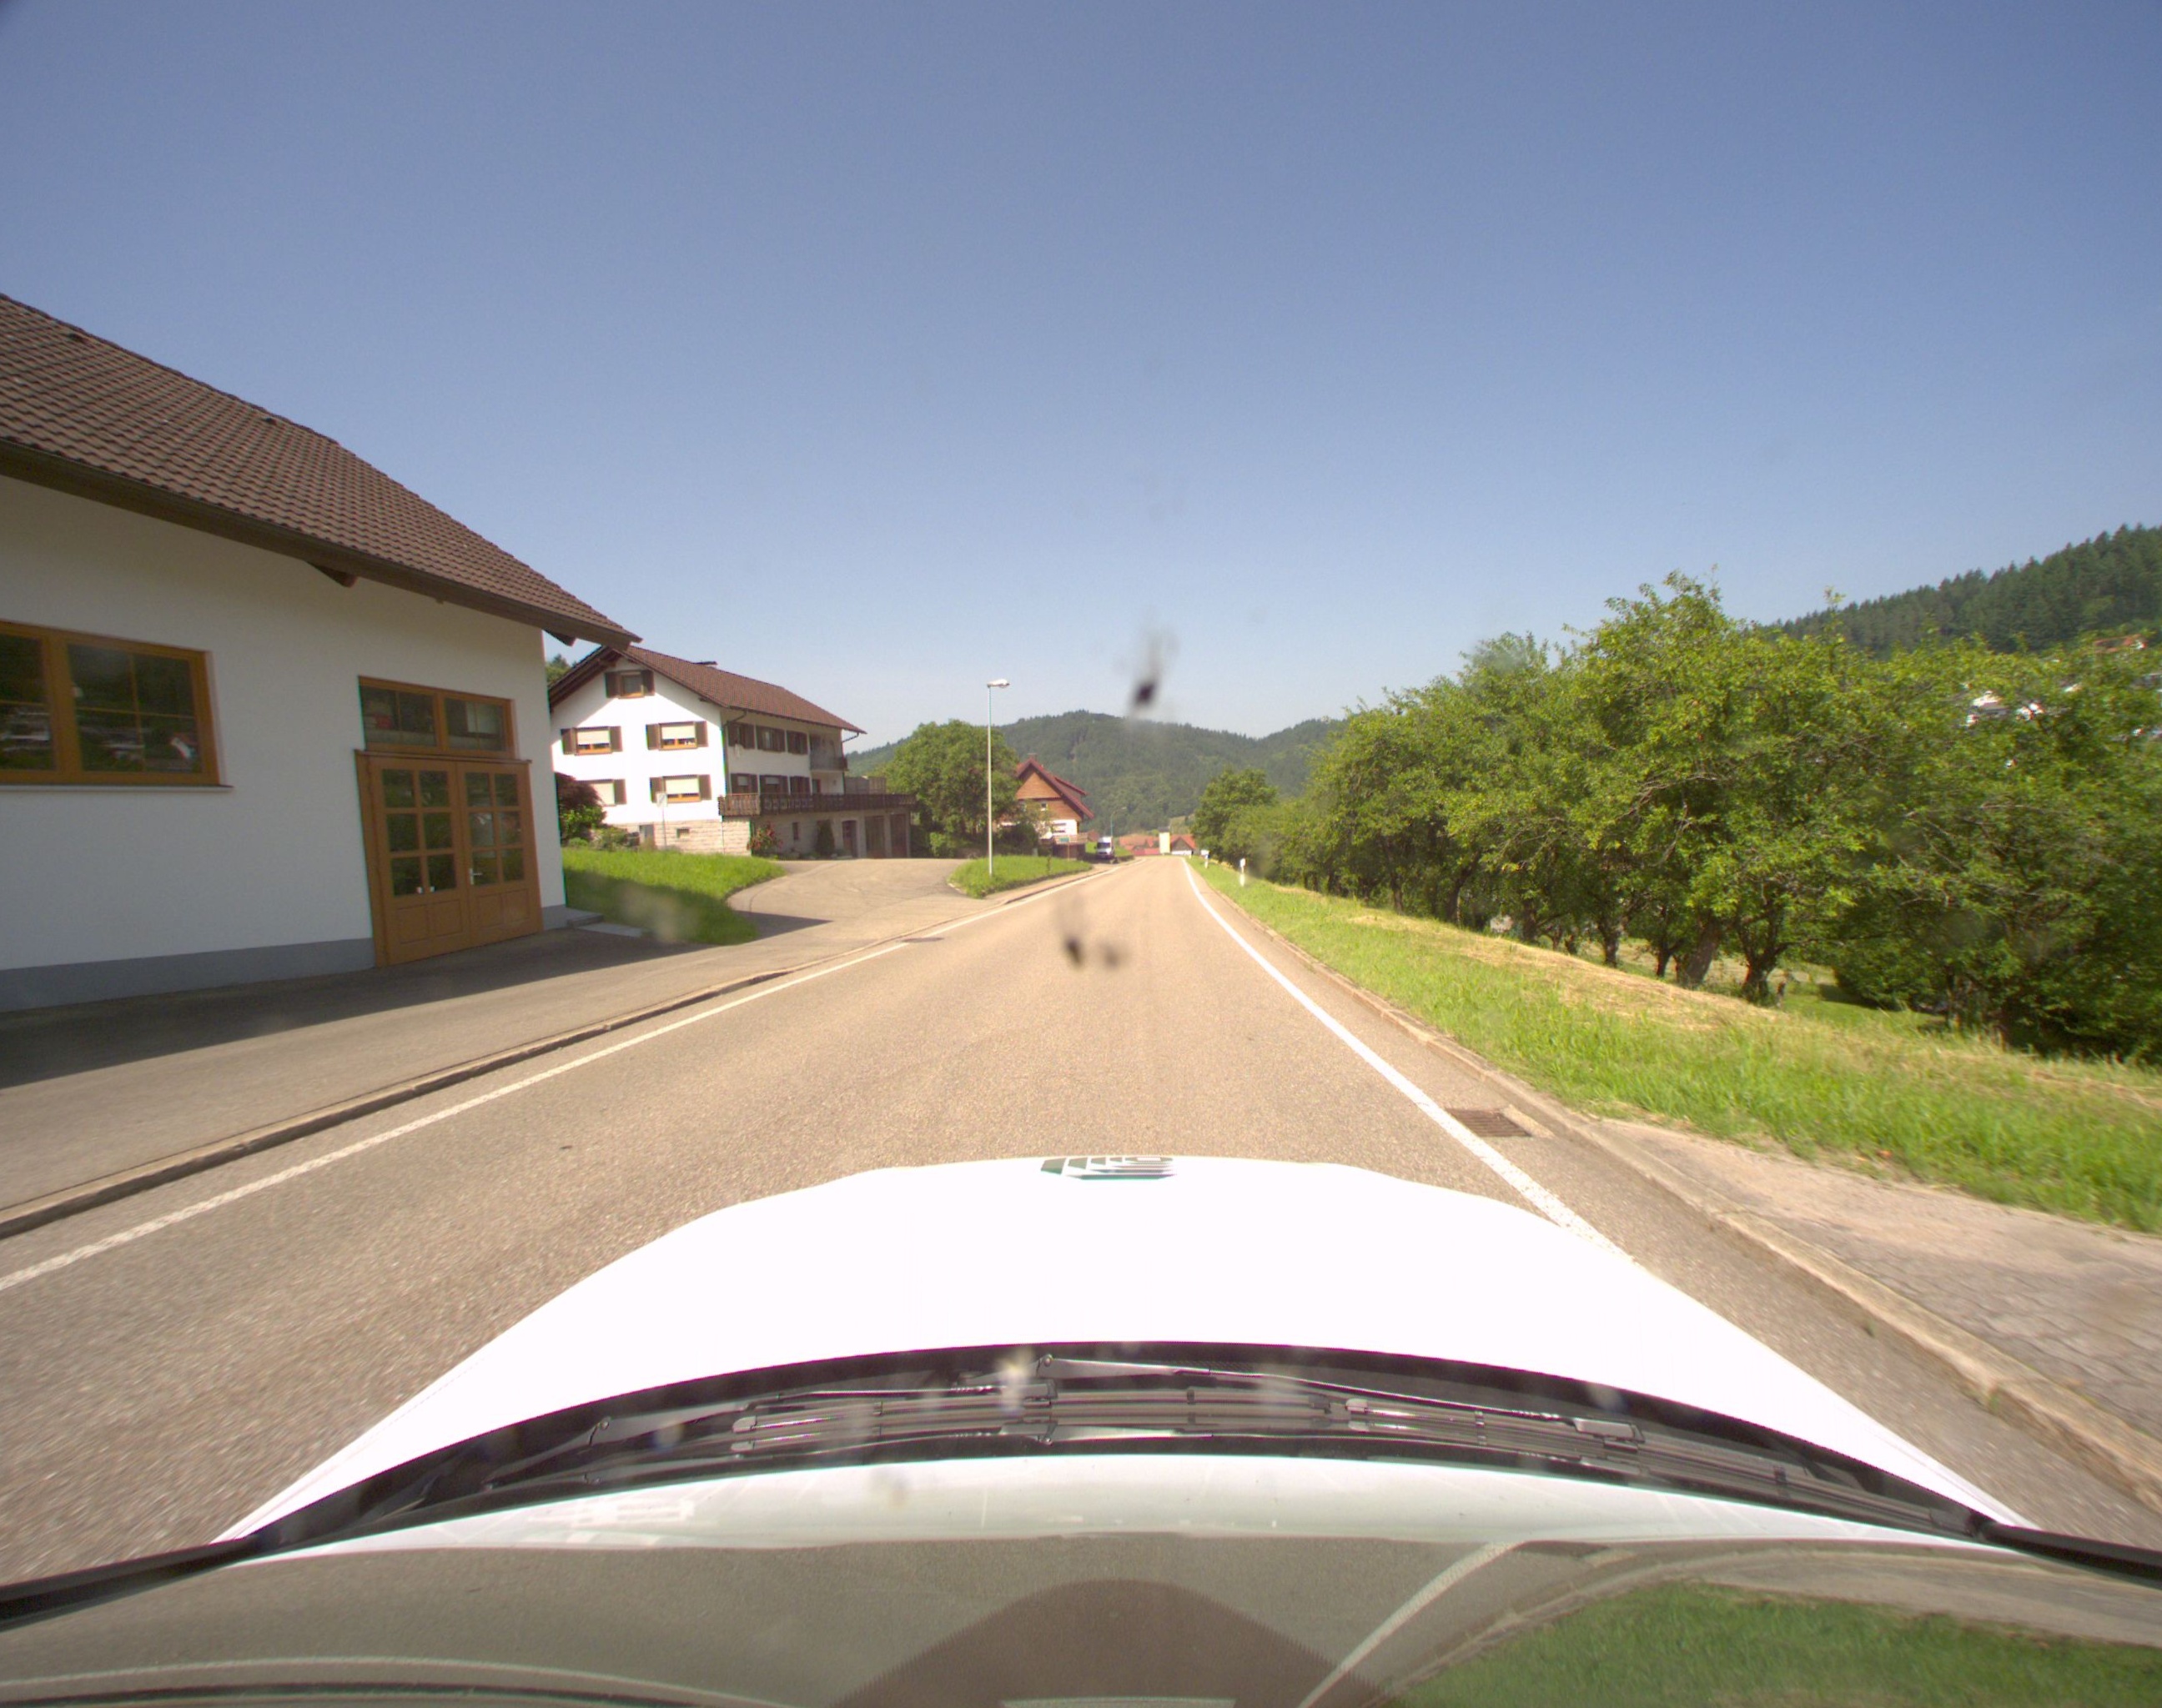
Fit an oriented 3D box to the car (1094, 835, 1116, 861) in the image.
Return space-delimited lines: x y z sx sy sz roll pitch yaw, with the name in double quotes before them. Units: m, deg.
"car" 3.026 -0.785 101.090 2.057 2.688 7.188 -2 3 6
